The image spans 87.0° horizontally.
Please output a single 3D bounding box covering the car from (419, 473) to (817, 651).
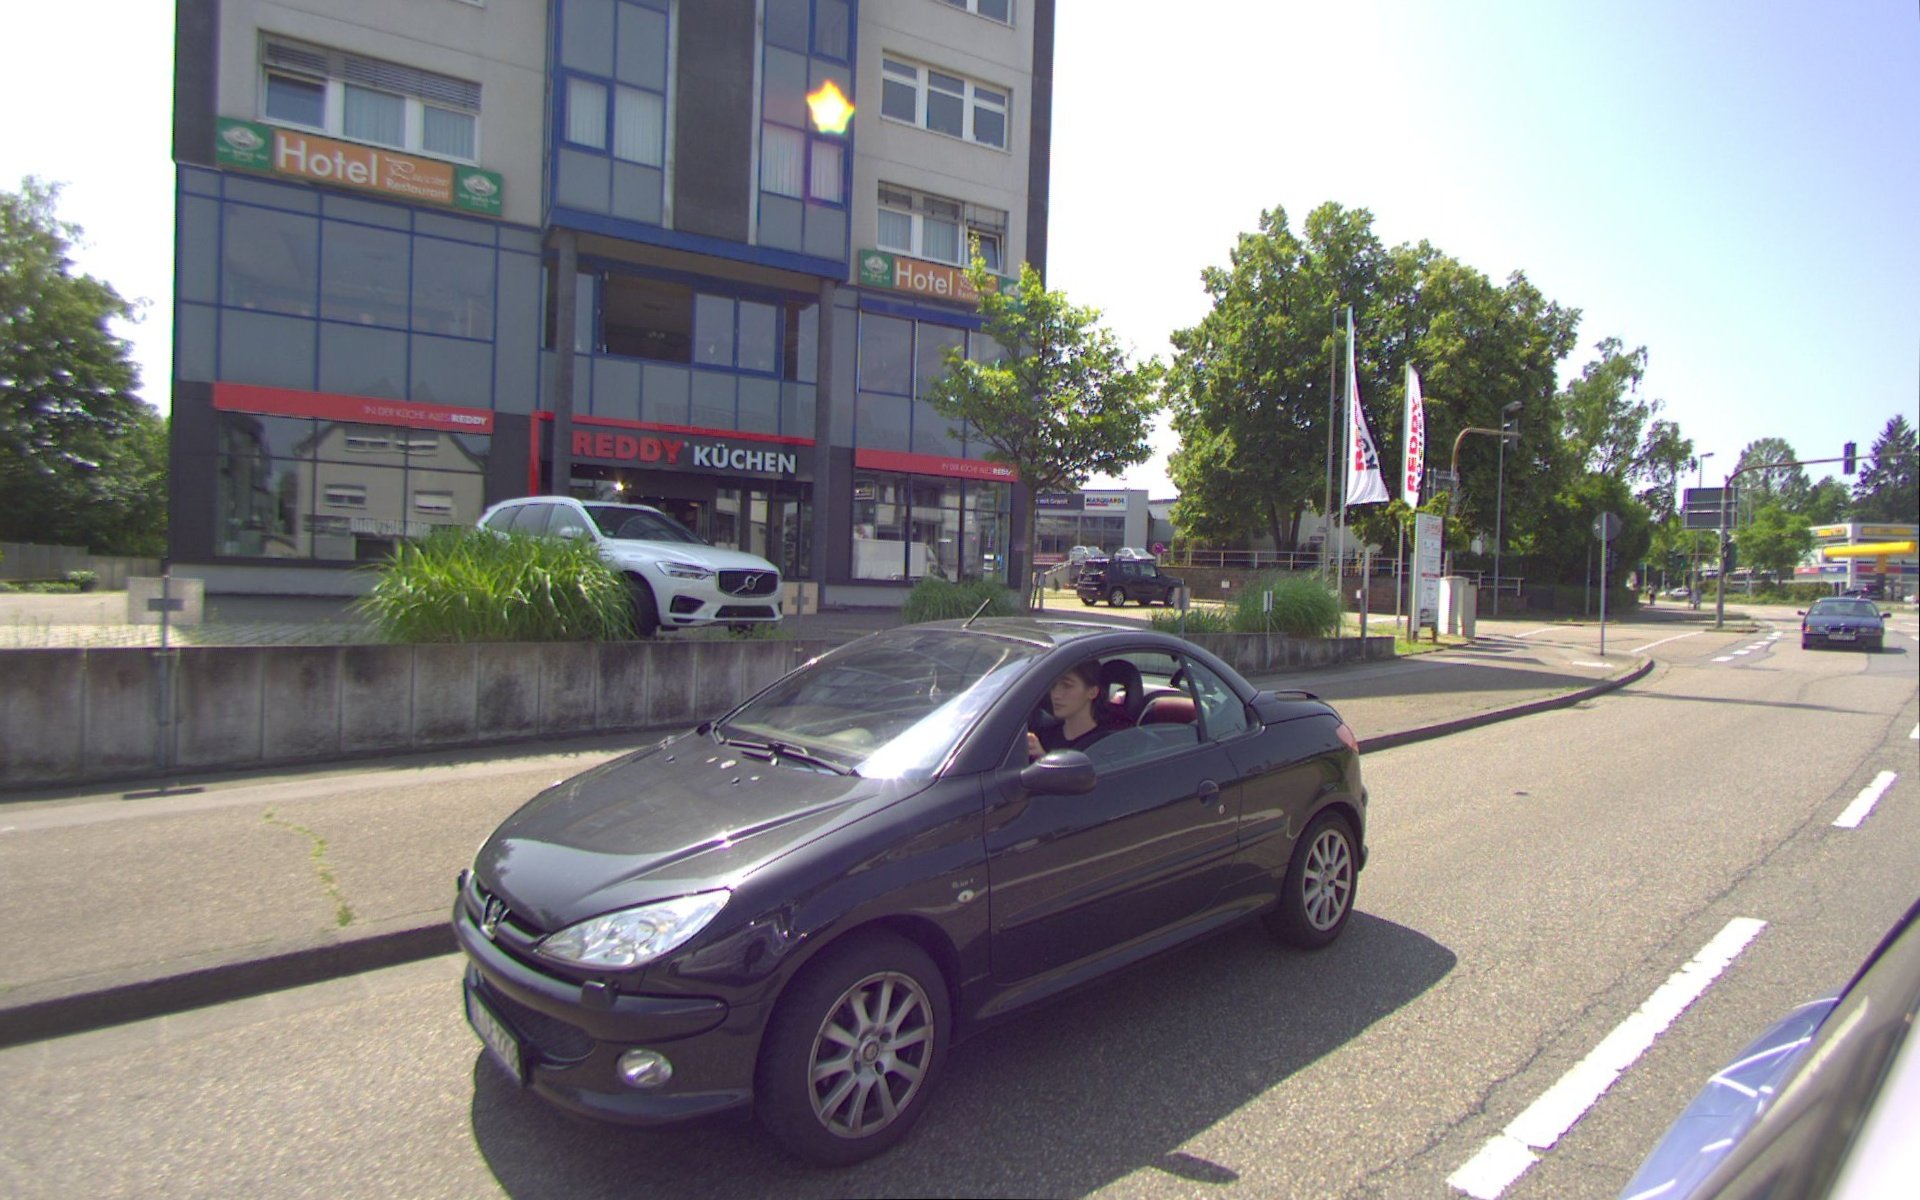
[{"bbox_3d":[-4.135,-0.398,11.984,4.704,1.735,1.977,0,1,33],"label":"car"}]

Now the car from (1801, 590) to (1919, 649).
[{"bbox_3d":[23.979,0.463,26.862,3.926,1.390,1.698,-1,2,-37],"label":"car"}]

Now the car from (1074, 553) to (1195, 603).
[{"bbox_3d":[6.222,-0.778,35.883,4.243,1.696,1.545,0,1,-31],"label":"car"}]

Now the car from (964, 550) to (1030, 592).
[{"bbox_3d":[1.516,-1.155,40.168,1.523,1.551,4.202,-1,1,18],"label":"car"}]

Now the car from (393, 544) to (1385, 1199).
[{"bbox_3d":[0.045,0.639,3.874,3.600,1.443,1.601,0,-2,-44],"label":"car"}]
